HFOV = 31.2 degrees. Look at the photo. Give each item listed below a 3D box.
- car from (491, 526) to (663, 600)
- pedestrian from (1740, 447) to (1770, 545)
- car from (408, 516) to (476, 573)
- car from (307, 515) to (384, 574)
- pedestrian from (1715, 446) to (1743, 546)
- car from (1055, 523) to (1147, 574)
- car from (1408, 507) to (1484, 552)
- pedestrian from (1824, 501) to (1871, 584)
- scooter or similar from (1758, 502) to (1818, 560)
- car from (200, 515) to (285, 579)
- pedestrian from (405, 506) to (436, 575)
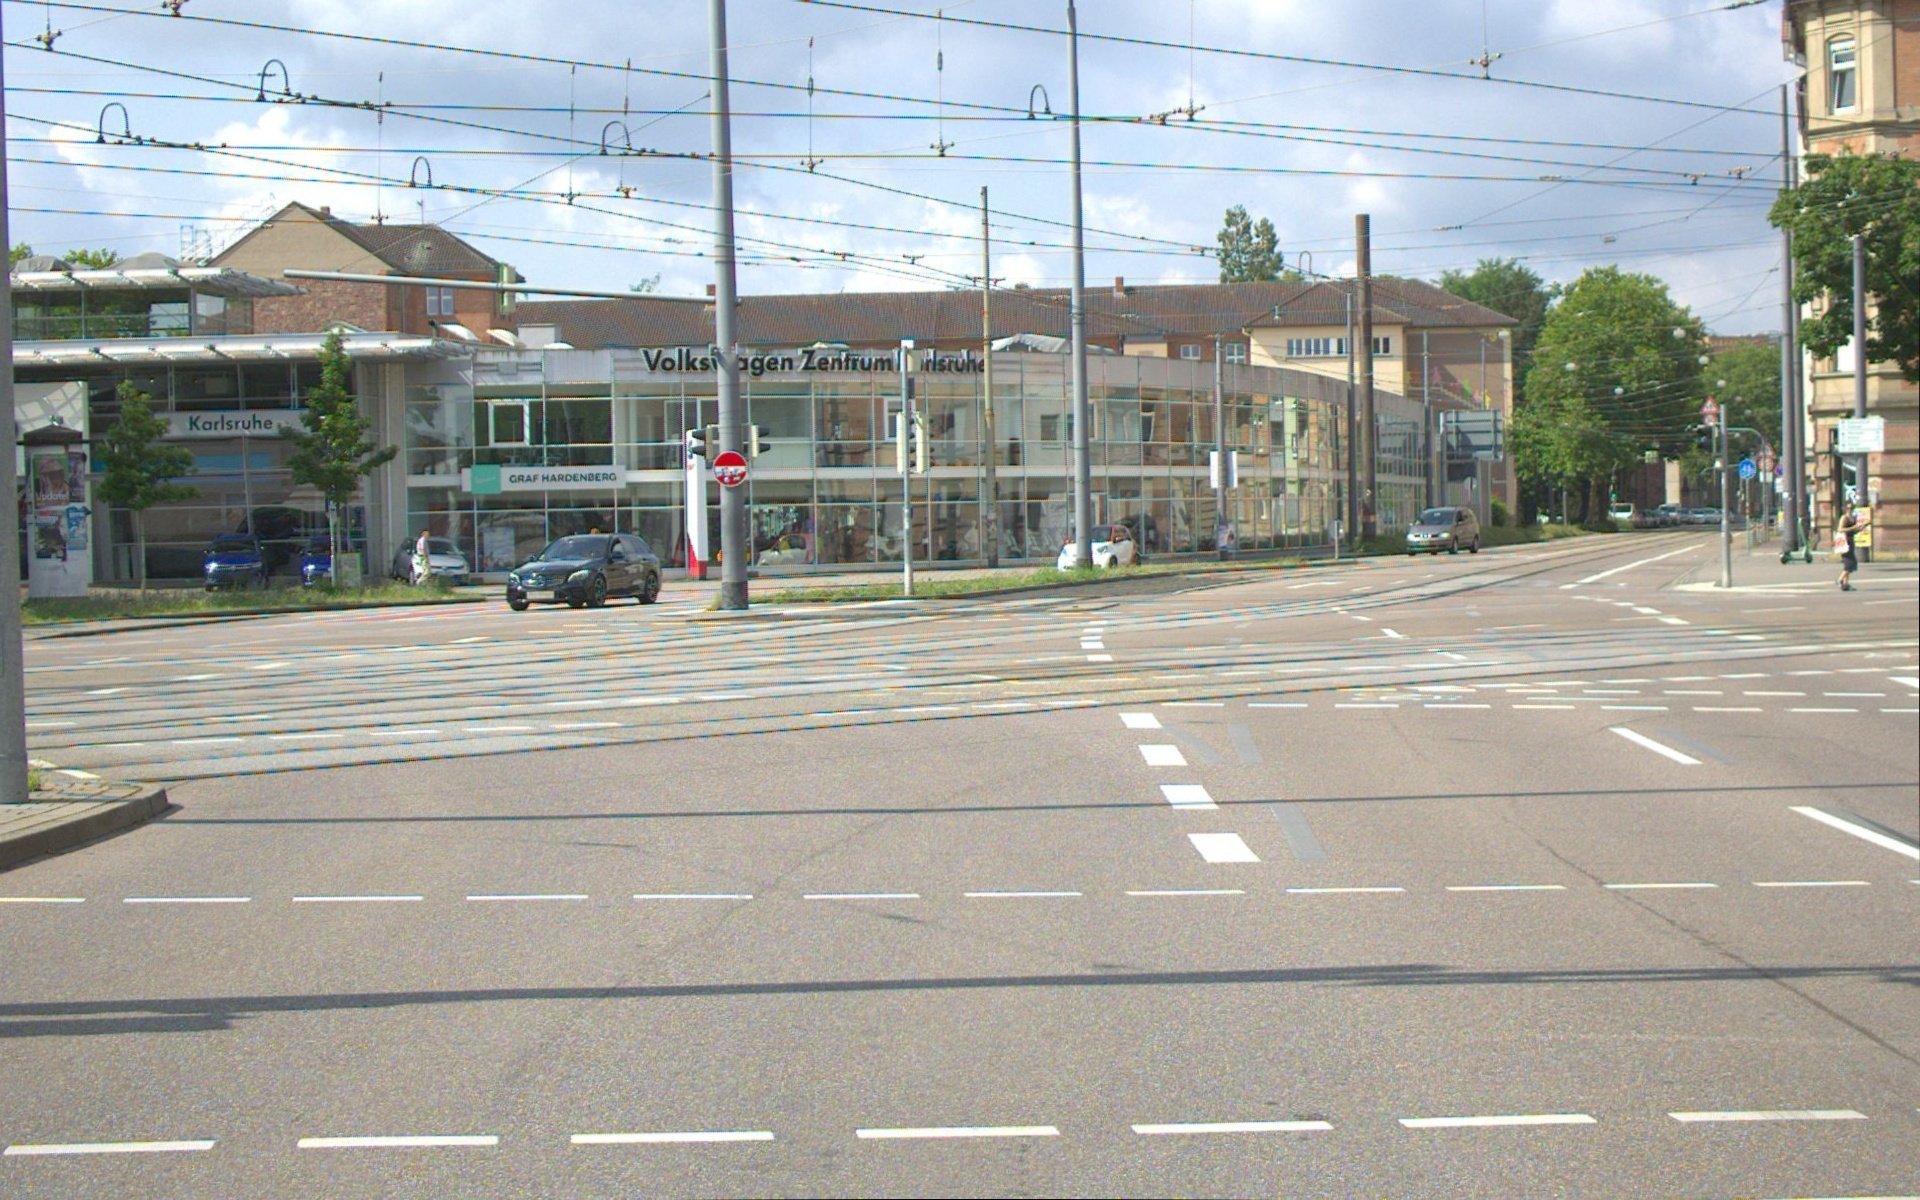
[{"bbox_3d":[-7.467,-0.742,67.375,1.866,1.371,3.937,-1,1,18],"label":"car"},{"bbox_3d":[25.028,-3.265,108.243,0.725,3.065,0.887,1,0,24],"label":"pedestrian"},{"bbox_3d":[-15.710,-1.664,104.077,1.928,1.678,4.001,1,0,-10],"label":"car"},{"bbox_3d":[-18.379,-1.652,102.922,1.993,1.719,4.001,1,0,-7],"label":"car"},{"bbox_3d":[24.302,-3.276,108.578,0.667,3.110,0.887,1,0,24],"label":"pedestrian"},{"bbox_3d":[4.192,-1.517,101.825,1.687,1.465,3.653,1,0,20],"label":"car"},{"bbox_3d":[17.601,-2.560,124.341,1.995,1.568,3.733,-1,1,20],"label":"car"},{"bbox_3d":[16.307,-1.050,63.157,0.741,1.510,0.544,0,1,23],"label":"pedestrian"},{"bbox_3d":[20.389,-1.685,84.703,1.177,1.381,2.803,1,0,8],"label":"scooter or similar"},{"bbox_3d":[-21.567,-1.584,103.422,1.993,1.831,4.001,-2,1,-5],"label":"car"},{"bbox_3d":[-15.883,-1.755,101.276,0.869,2.007,0.704,-1,1,-9],"label":"pedestrian"}]
